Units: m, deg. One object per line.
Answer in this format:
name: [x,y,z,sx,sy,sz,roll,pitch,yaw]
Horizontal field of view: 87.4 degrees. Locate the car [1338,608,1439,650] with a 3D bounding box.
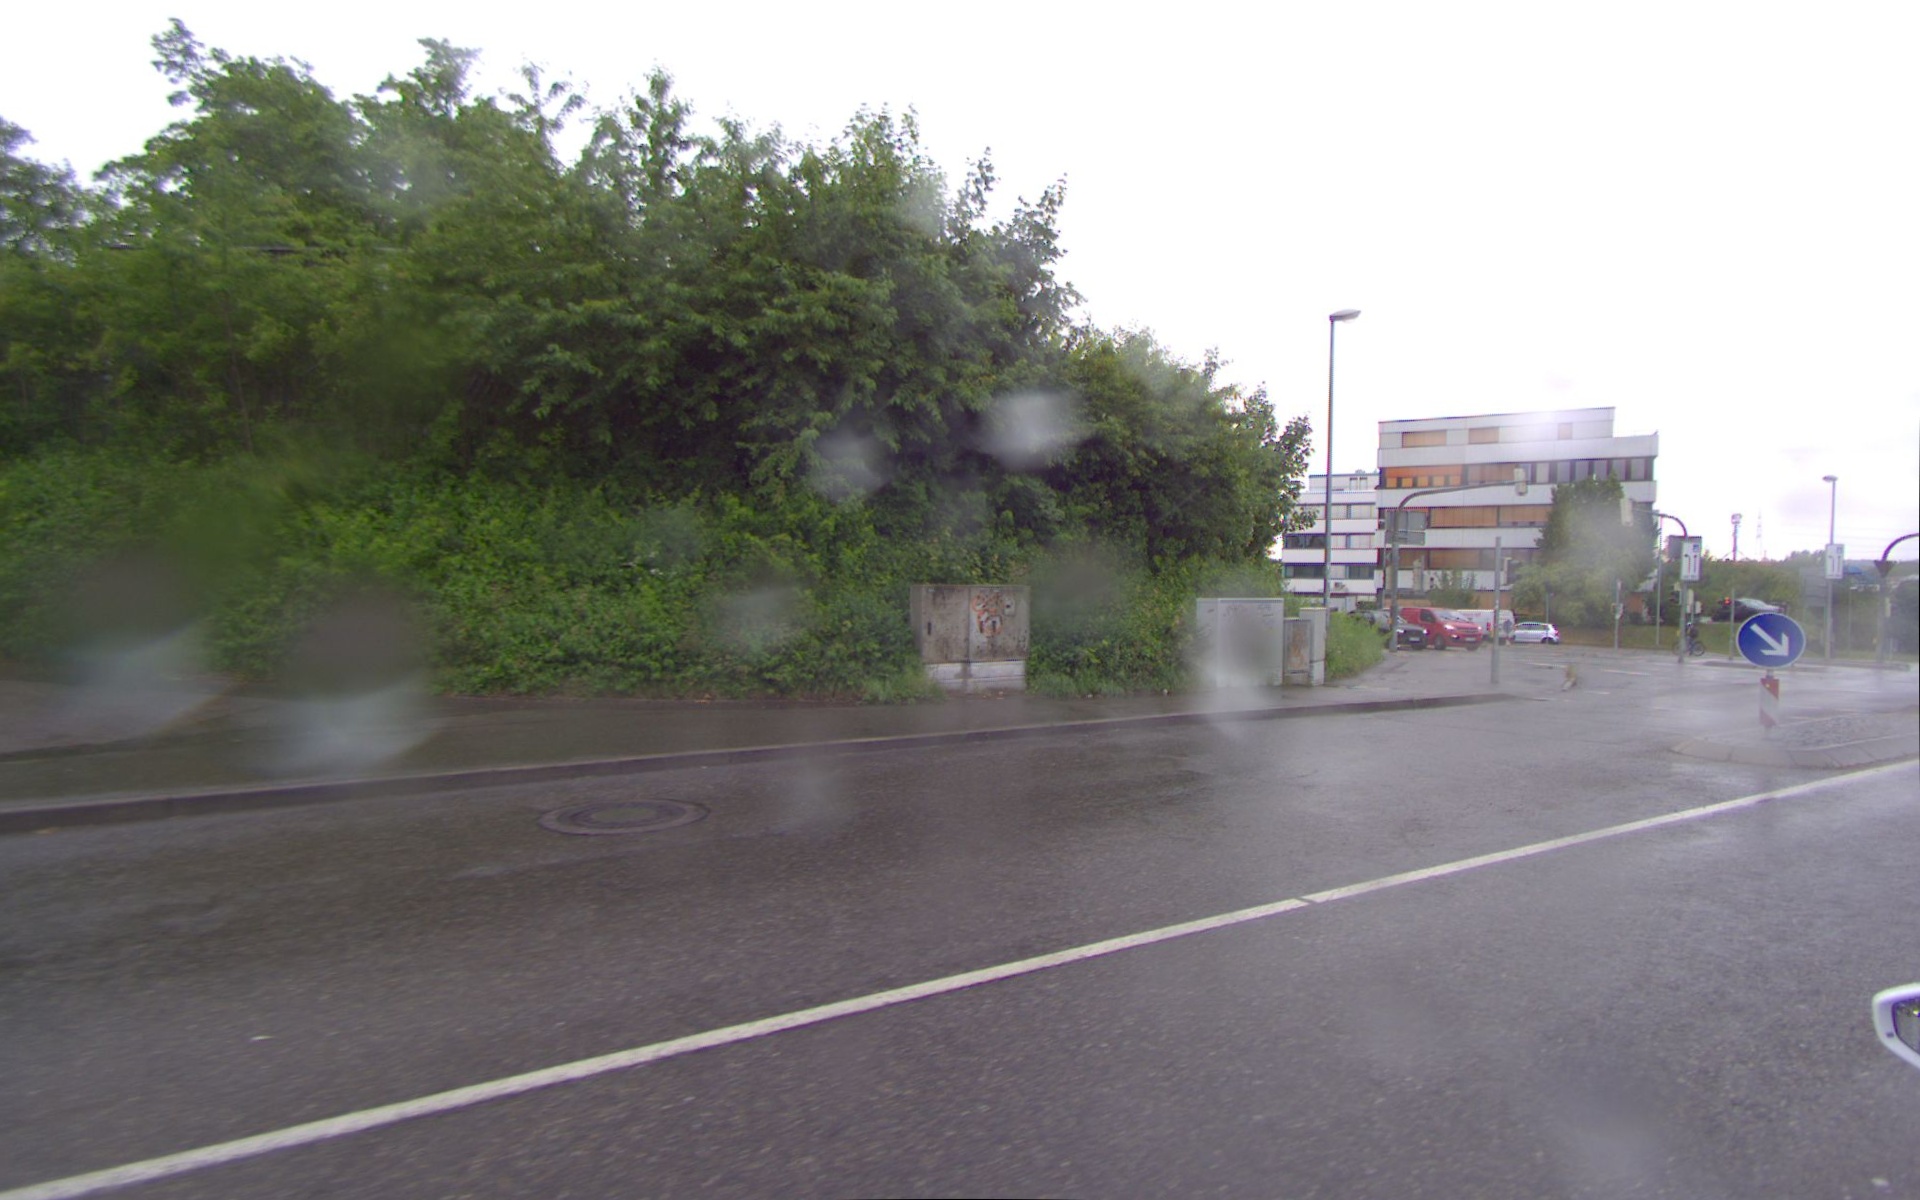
car: [18.857,1.246,44.468,1.997,1.701,4.625,1,-1,-9]

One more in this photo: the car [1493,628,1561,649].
car: [34.414,2.319,60.991,3.457,1.120,1.815,2,0,35]

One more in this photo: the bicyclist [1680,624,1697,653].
bicyclist: [38.260,2.022,52.752,0.597,1.465,0.540,1,0,-35]

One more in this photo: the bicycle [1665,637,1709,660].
bicycle: [38.223,2.537,52.806,0.603,1.066,1.763,1,1,-34]

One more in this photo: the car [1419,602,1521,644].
car: [27.633,1.218,54.668,1.969,2.040,4.992,1,1,-18]

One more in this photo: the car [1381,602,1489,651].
car: [21.557,1.153,45.825,1.965,2.040,4.777,1,0,-11]

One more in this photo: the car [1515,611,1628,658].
car: [27.237,1.492,44.886,1.965,1.865,4.144,1,1,-13]
